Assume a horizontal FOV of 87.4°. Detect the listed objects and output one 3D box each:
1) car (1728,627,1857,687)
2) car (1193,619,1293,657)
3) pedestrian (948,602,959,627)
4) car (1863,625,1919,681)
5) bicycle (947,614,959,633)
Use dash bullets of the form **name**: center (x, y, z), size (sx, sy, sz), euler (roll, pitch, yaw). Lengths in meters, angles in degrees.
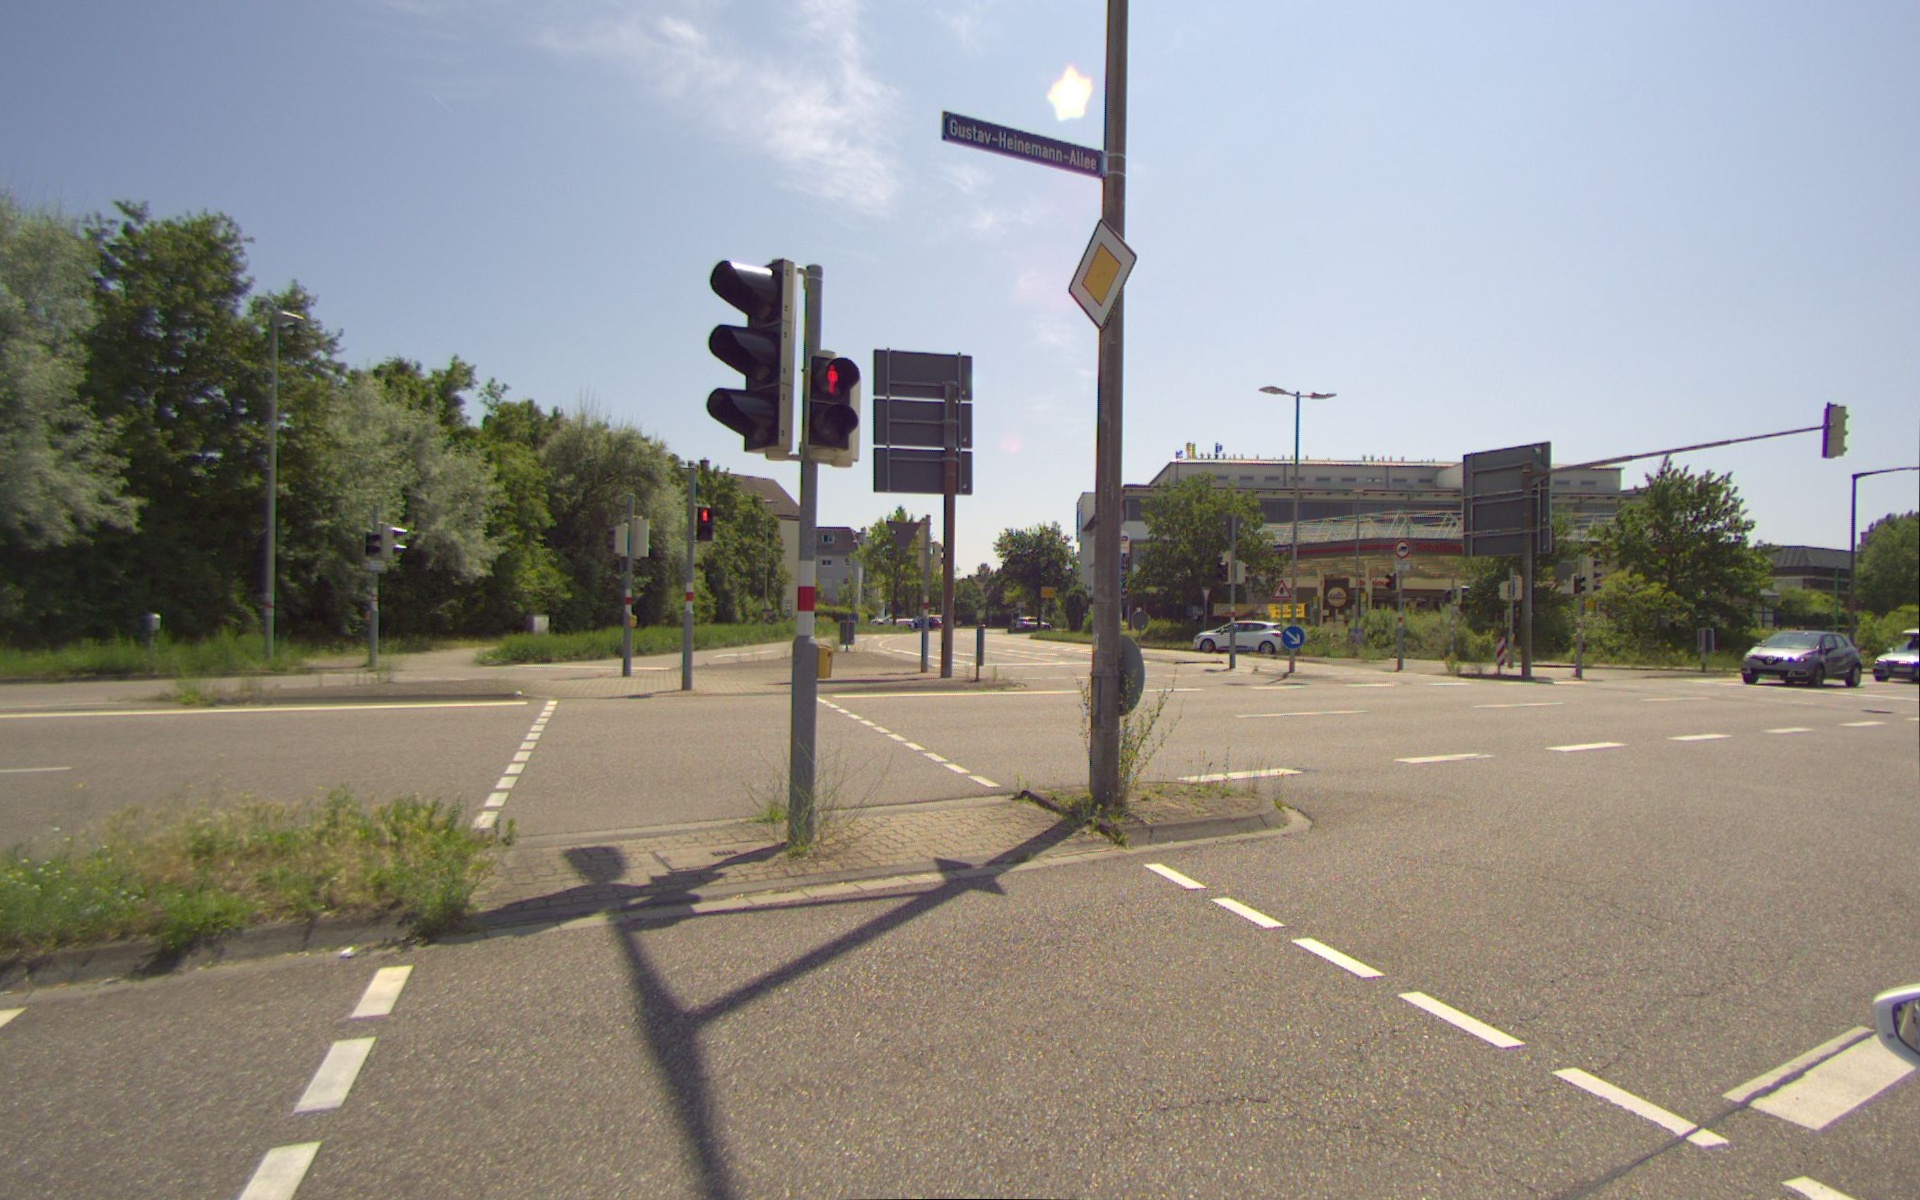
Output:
- **car**: center (24.145, 1.624, 29.108), size (3.954, 1.560, 1.650), euler (2, 0, -31)
- **car**: center (12.109, 1.607, 43.033), size (3.760, 1.469, 1.825), euler (1, -1, 31)
- **pedestrian**: center (-0.747, 1.605, 113.204), size (0.864, 2.751, 1.518), euler (2, 0, 8)
- **car**: center (32.411, 1.770, 33.584), size (4.965, 1.773, 1.955), euler (2, -1, -31)
- **bicycle**: center (-0.785, 2.636, 113.007), size (0.876, 2.040, 3.196), euler (1, -1, 6)
